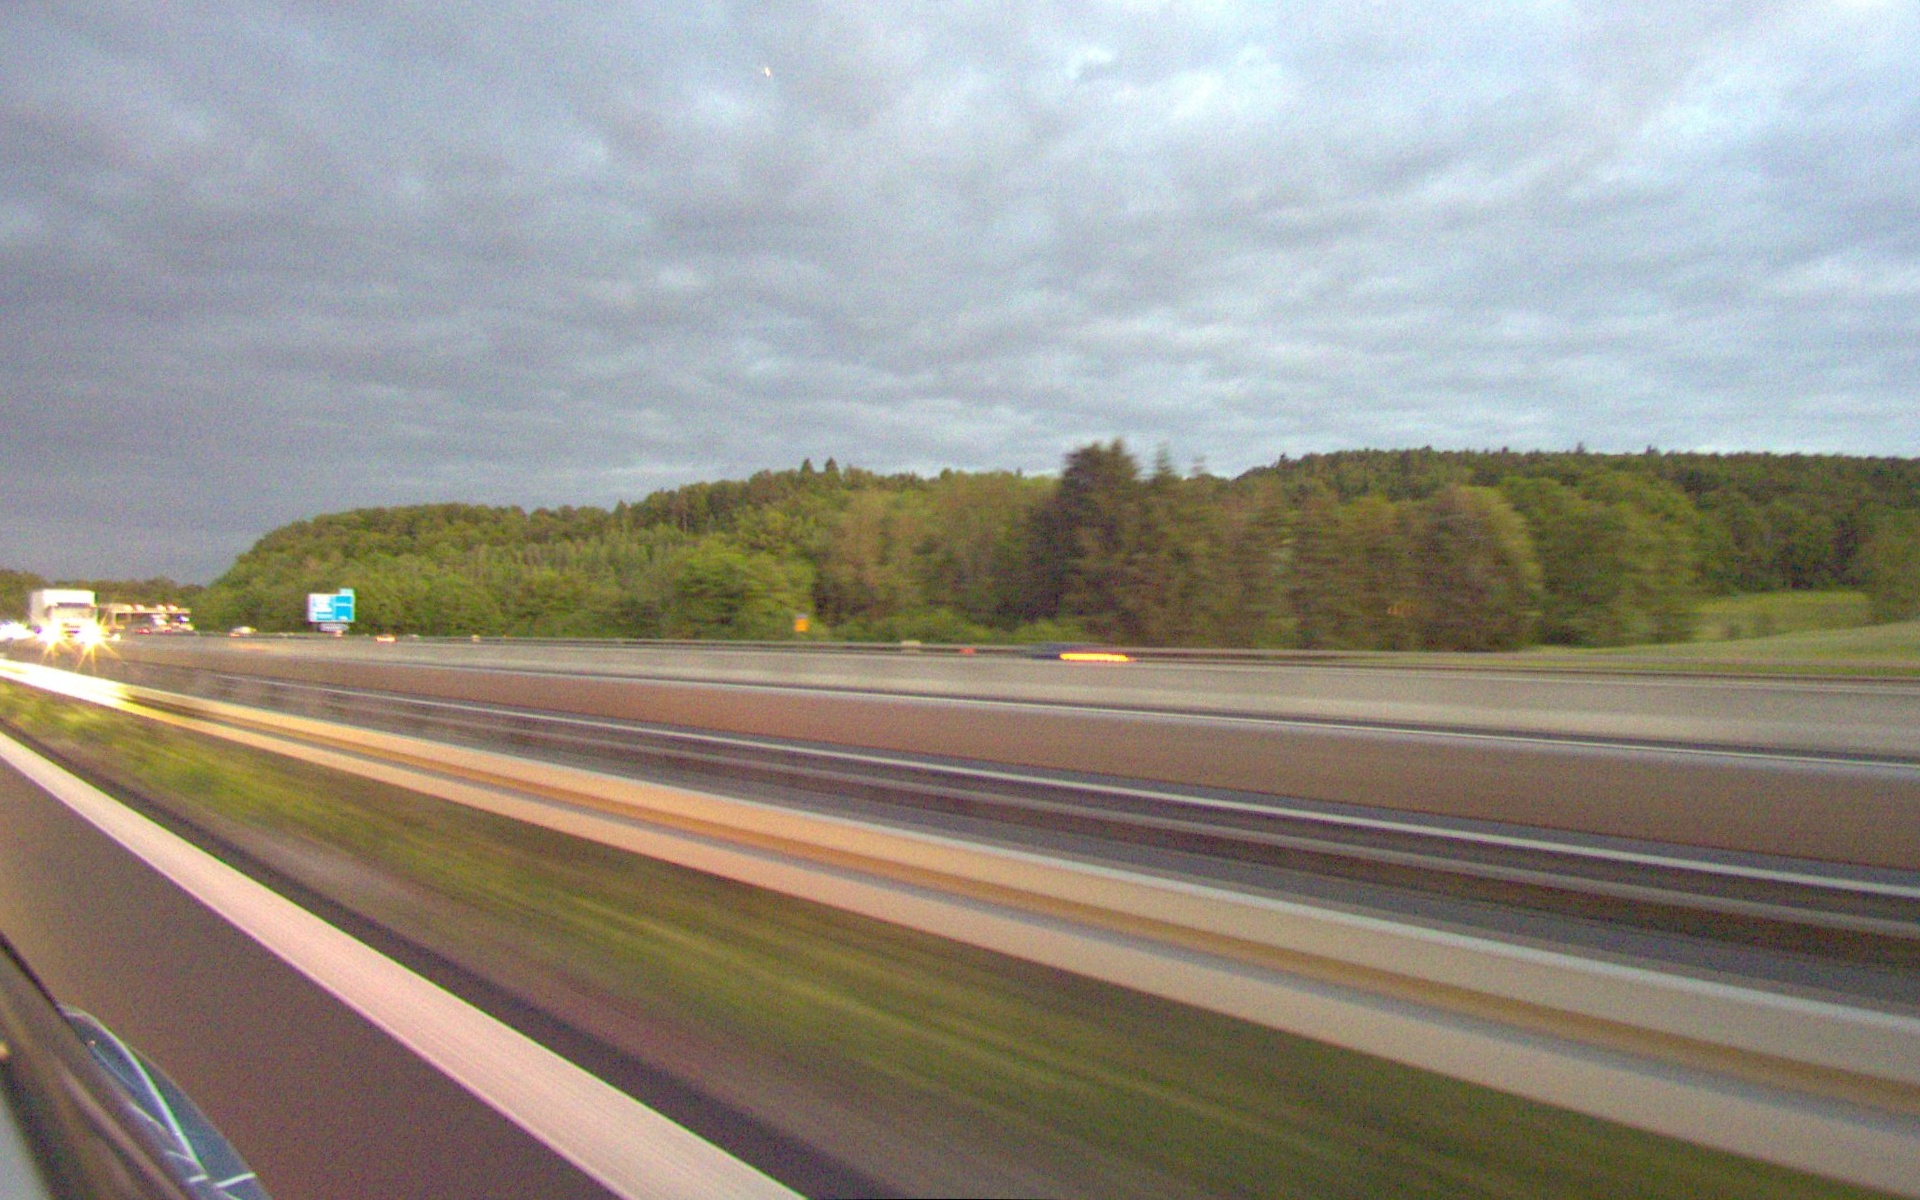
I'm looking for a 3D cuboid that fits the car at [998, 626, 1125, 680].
[{"bbox_3d":[4.039,2.090,40.647,4.725,2.029,1.975,-1,-2,37],"label":"car"}]

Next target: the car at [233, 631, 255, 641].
[{"bbox_3d":[-111.550,5.574,157.586,4.465,1.454,1.817,-2,-3,42],"label":"car"}]

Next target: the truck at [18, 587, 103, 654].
[{"bbox_3d":[-61.821,1.433,69.471,9.886,4.334,3.006,-1,-3,41],"label":"truck"}]
